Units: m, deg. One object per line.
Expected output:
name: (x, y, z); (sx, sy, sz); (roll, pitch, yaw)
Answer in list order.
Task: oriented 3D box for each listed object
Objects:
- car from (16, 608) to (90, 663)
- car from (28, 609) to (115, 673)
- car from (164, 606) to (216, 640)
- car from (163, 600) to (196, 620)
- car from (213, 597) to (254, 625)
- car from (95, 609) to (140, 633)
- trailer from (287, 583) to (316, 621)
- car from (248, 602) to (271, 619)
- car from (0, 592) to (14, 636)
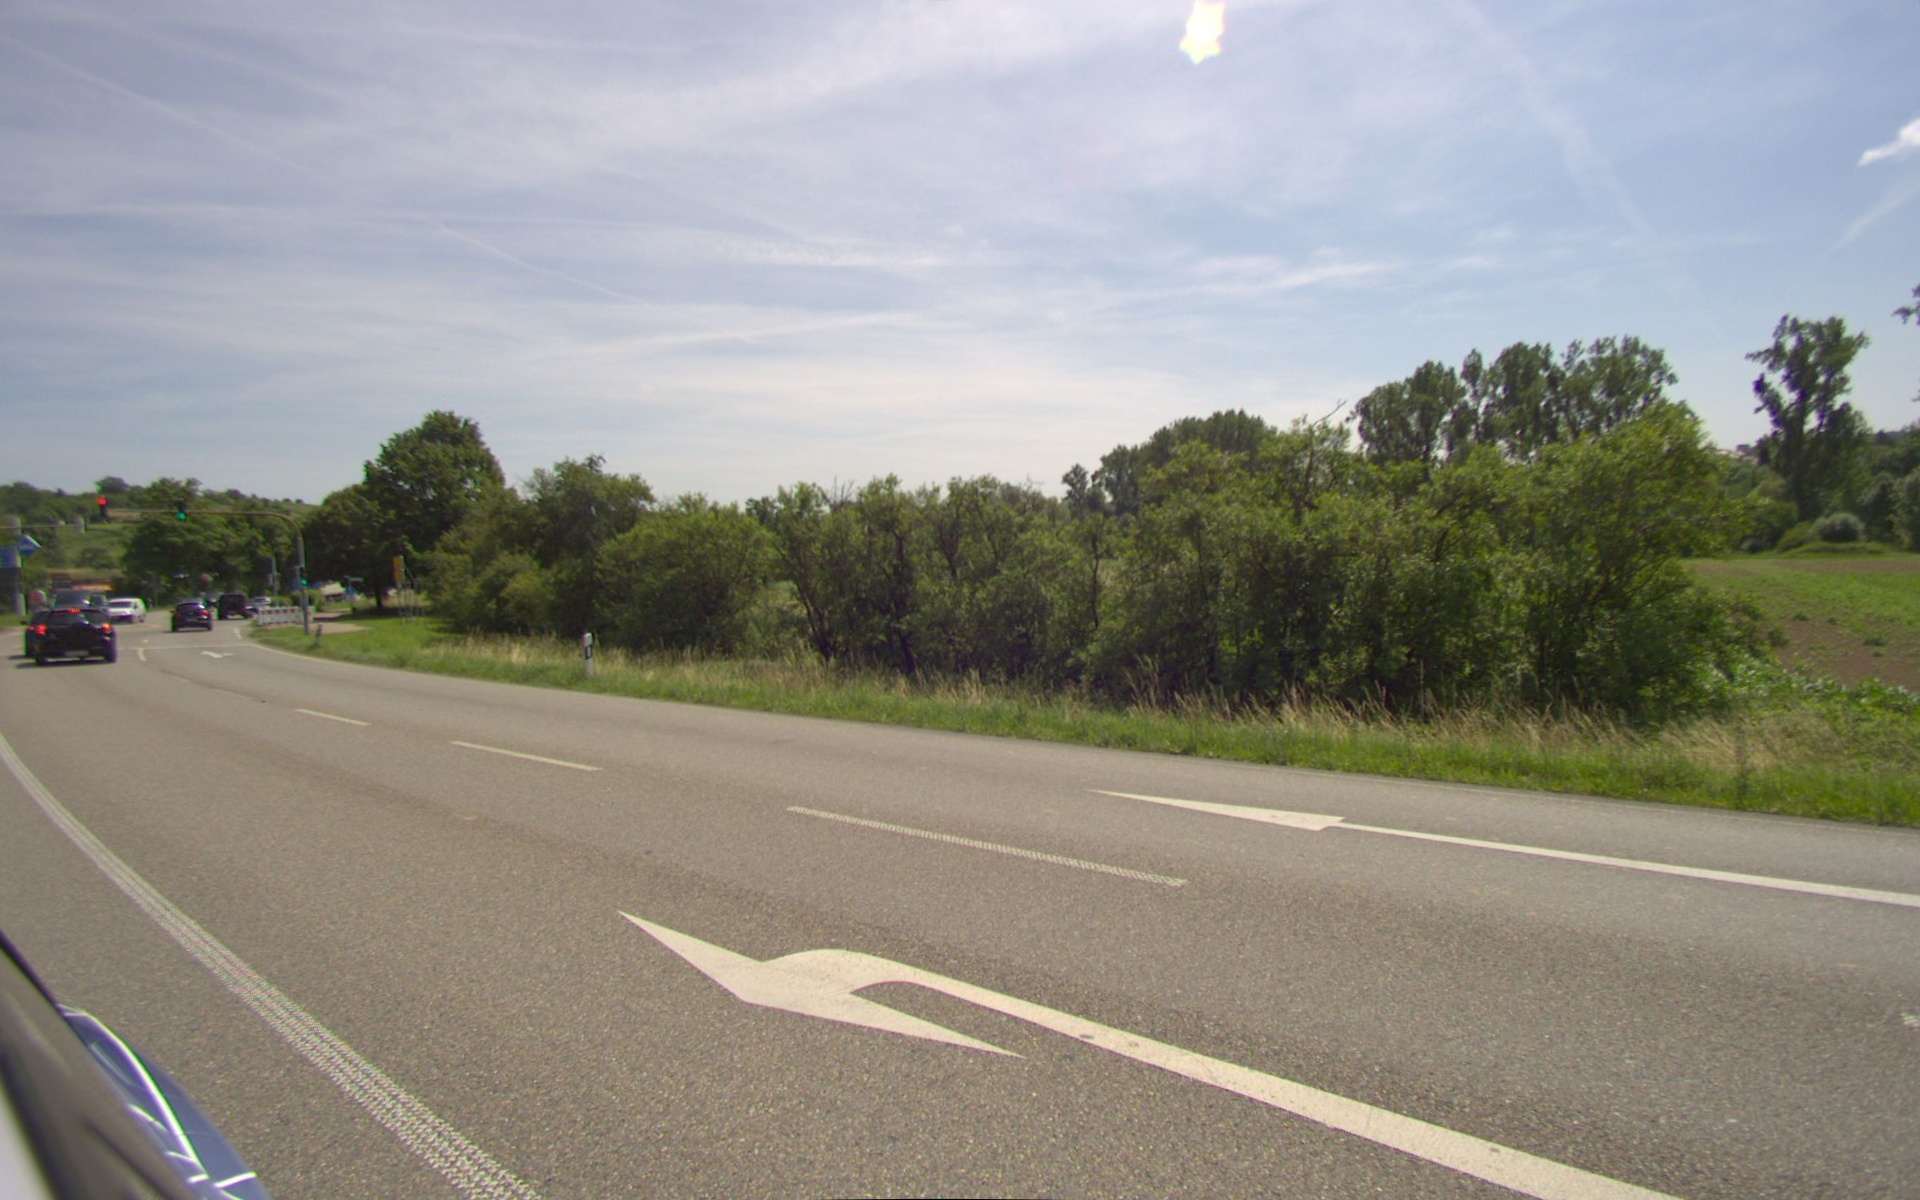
car: (-30.521, 1.146, 34.120); (1.749, 1.671, 4.005); (-2, 1, -41)
car: (-25.974, 1.140, 29.689); (1.749, 1.671, 4.007); (-2, 1, -40)
car: (-42.691, 1.235, 56.176); (1.966, 1.708, 4.011); (-1, 1, -32)
car: (-73.535, 0.901, 95.345); (1.779, 1.745, 4.013); (-3, 1, -28)
car: (-56.625, 0.785, 78.917); (1.966, 2.021, 5.180); (-2, 1, -29)
car: (-61.736, 1.485, 74.180); (1.754, 1.504, 4.171); (-2, 3, -29)
trailer: (-74.966, 0.269, 115.397); (2.531, 4.060, 13.632); (-1, 0, -33)
car: (-63.998, 0.959, 92.467); (1.747, 1.507, 4.010); (-1, 1, -35)
car: (-57.918, 0.845, 59.971); (4.151, 2.537, 1.958); (1, 3, 37)
